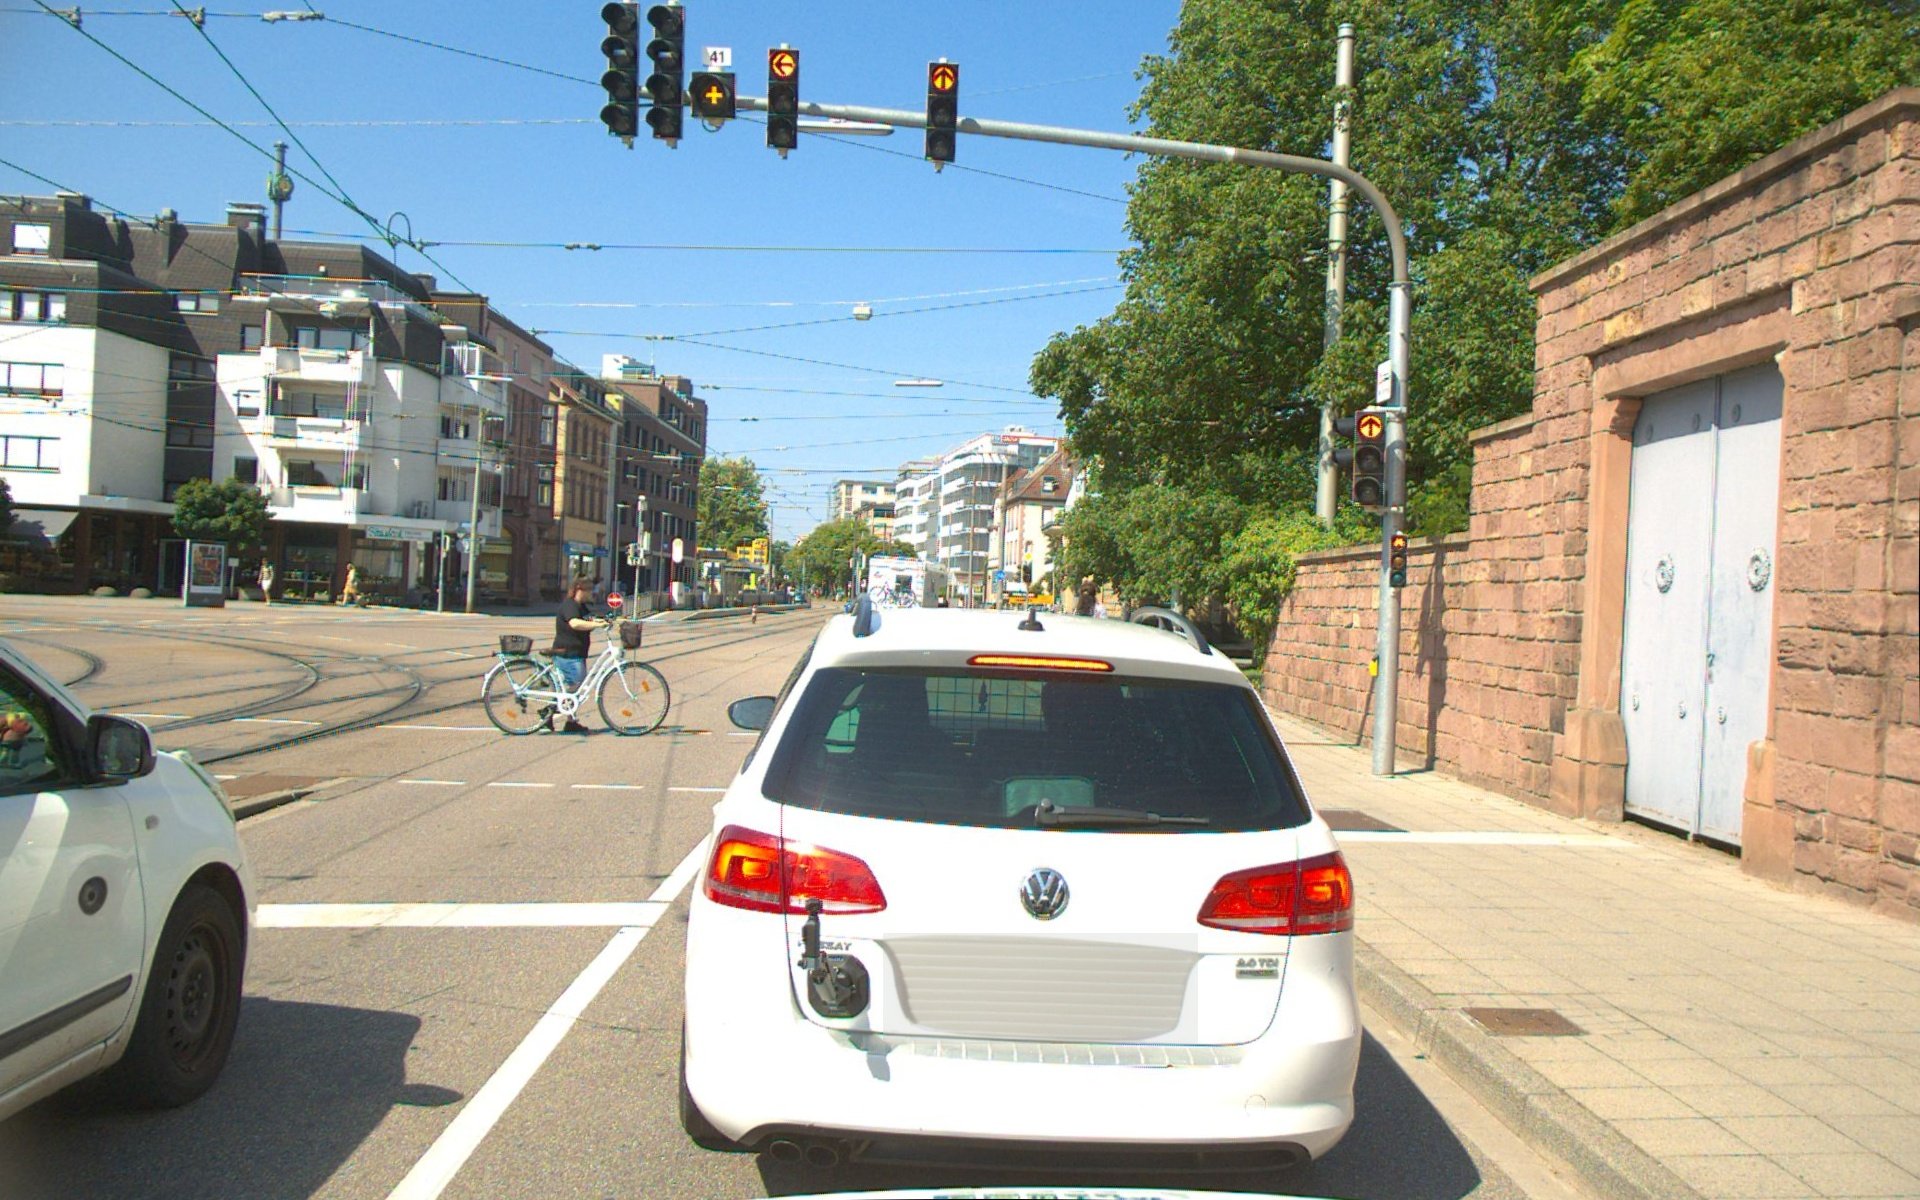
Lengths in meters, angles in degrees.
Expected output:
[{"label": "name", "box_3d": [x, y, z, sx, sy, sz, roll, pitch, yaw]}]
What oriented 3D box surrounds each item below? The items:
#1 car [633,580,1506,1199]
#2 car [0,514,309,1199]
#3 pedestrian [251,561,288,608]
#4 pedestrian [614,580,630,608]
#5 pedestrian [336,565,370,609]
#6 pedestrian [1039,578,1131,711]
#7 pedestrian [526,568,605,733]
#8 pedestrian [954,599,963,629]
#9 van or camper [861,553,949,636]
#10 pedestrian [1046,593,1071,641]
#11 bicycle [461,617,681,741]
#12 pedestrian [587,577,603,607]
[{"label": "car", "box_3d": [0.194, 0.715, 5.412, 1.771, 1.473, 3.999, 2, 0, -1]}, {"label": "car", "box_3d": [-2.836, 0.608, 3.310, 1.608, 1.593, 3.803, 1, 1, -1]}, {"label": "pedestrian", "box_3d": [-26.438, -0.601, 63.329, 0.845, 1.773, 0.973, 0, -1, 30]}, {"label": "pedestrian", "box_3d": [-21.758, -0.385, 106.461, 0.845, 1.773, 0.973, 1, -1, -6]}, {"label": "pedestrian", "box_3d": [-24.689, -0.531, 67.276, 0.847, 1.773, 0.971, 0, -1, 37]}, {"label": "pedestrian", "box_3d": [1.637, 0.570, 21.572, 0.933, 1.680, 0.975, 0, -1, 22]}, {"label": "pedestrian", "box_3d": [-3.938, 0.490, 16.491, 0.733, 1.599, 0.673, 1, 1, -15]}, {"label": "pedestrian", "box_3d": [-0.128, 1.135, 130.789, 0.675, 2.366, 1.232, 0, -1, 0]}, {"label": "van or camper", "box_3d": [-2.122, -0.175, 65.961, 2.512, 3.147, 5.707, 0, -1, 9]}, {"label": "pedestrian", "box_3d": [3.703, 0.651, 62.410, 0.843, 1.773, 0.976, 0, -1, 9]}, {"label": "bicycle", "box_3d": [-3.733, 0.760, 15.918, 1.986, 1.109, 0.707, 2, 0, -16]}, {"label": "pedestrian", "box_3d": [-22.183, -0.474, 100.466, 0.845, 1.773, 0.973, 1, -1, -6]}]
